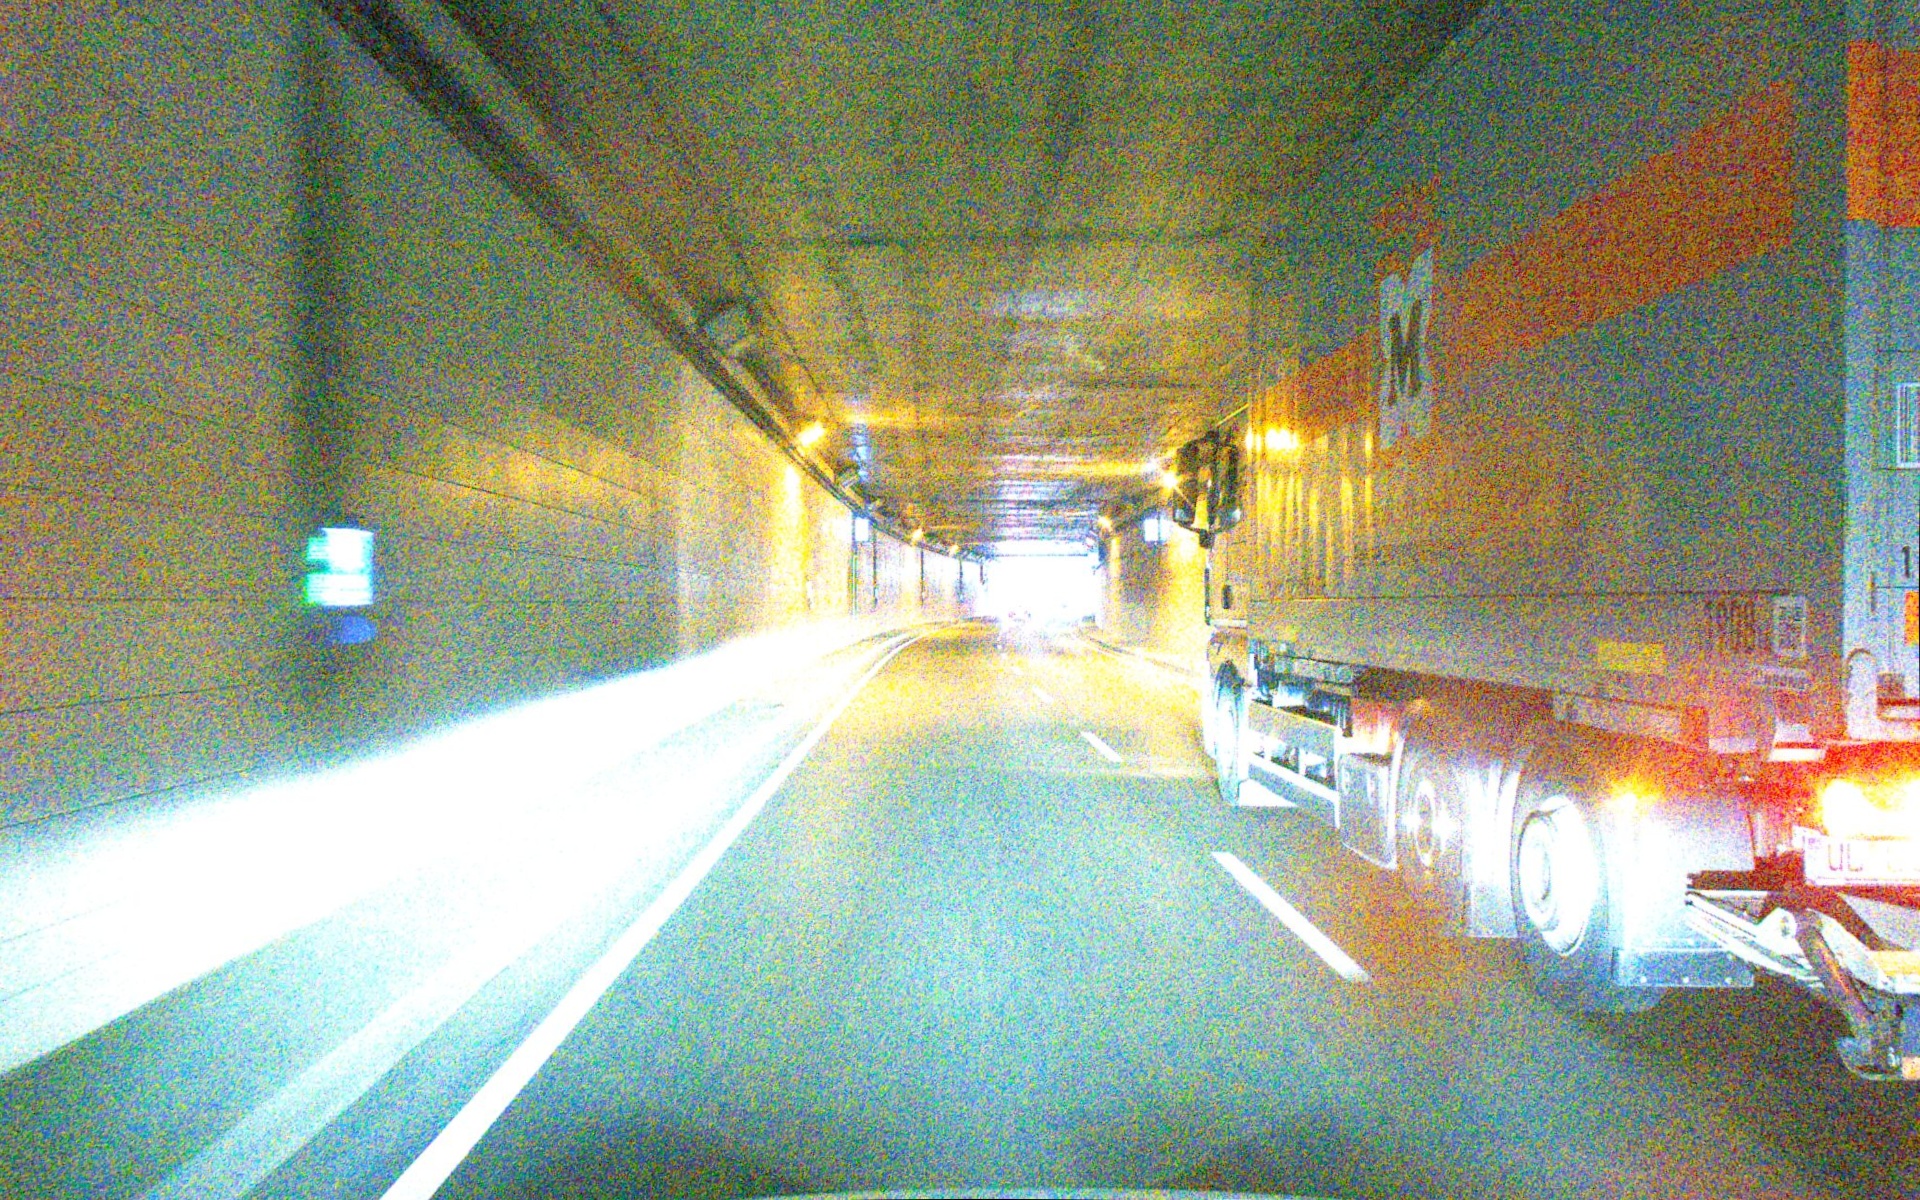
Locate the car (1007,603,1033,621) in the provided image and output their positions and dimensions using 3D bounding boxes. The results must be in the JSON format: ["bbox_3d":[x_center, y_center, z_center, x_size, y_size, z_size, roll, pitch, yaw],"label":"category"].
[{"bbox_3d":[4.756,0.969,130.493,1.802,1.413,4.003,0,0,6],"label":"car"}]

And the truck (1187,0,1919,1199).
[{"bbox_3d":[3.453,-0.509,8.941,2.830,3.982,9.906,0,0,-2],"label":"truck"}]

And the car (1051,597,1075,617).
[{"bbox_3d":[9.330,0.627,149.619,1.829,1.763,4.003,0,0,8],"label":"car"}]
